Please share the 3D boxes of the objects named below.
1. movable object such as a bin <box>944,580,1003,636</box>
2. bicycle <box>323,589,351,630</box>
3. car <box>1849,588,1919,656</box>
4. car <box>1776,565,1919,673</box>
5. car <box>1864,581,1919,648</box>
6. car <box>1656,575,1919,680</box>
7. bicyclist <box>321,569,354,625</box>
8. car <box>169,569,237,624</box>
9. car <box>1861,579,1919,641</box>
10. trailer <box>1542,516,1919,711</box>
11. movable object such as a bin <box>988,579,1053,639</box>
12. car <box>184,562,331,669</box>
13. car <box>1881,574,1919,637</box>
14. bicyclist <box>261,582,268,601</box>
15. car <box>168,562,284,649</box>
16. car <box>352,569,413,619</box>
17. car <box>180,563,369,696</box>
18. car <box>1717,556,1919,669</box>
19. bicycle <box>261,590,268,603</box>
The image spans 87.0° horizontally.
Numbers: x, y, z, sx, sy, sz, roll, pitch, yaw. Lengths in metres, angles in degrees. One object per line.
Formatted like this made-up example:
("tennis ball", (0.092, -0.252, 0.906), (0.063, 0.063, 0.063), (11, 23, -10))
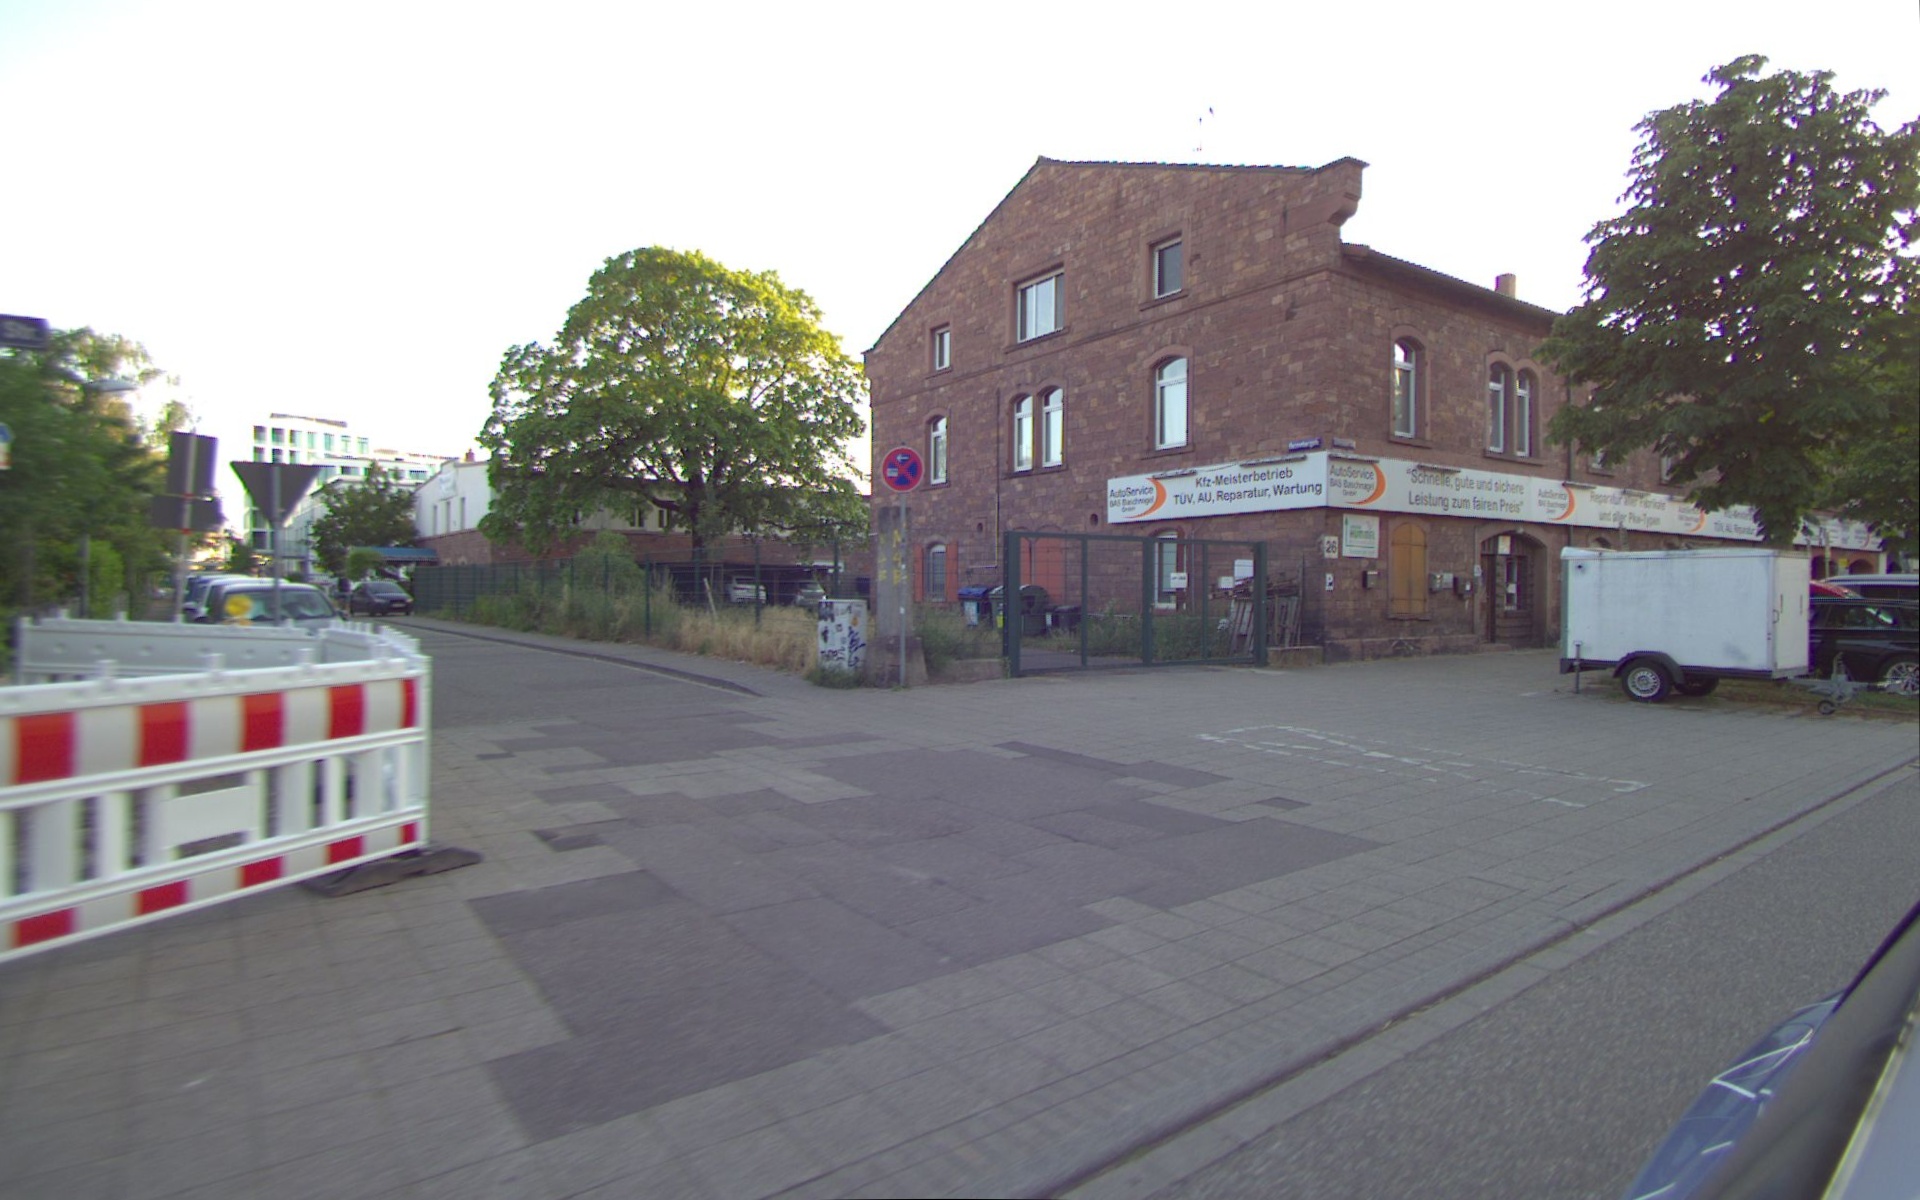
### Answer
("movable object such as a bin", (0.354, 0.200, 27.248), (1.038, 1.462, 1.290), (0, 0, -33))
("bicycle", (-19.628, 0.284, 31.874), (0.444, 1.239, 1.879), (0, 0, -41))
("car", (23.614, 0.499, 23.718), (1.788, 1.585, 3.954), (-1, 0, -39))
("car", (17.898, 0.329, 18.727), (1.963, 1.928, 3.998), (-1, 0, -37))
("car", (25.422, 0.422, 25.223), (1.860, 1.638, 4.000), (-1, 3, -37))
("car", (13.978, 0.386, 16.130), (1.740, 1.518, 4.440), (-1, 0, -36))
("bicyclist", (-19.589, -0.103, 31.827), (0.731, 1.720, 0.979), (0, 0, -41))
("car", (-29.500, -0.154, 39.400), (1.964, 2.039, 3.995), (-1, 0, -39))
("car", (27.304, 0.374, 27.072), (1.945, 1.594, 4.429), (1, 3, -37))
("trailer", (10.447, 0.131, 13.713), (1.962, 2.215, 4.000), (0, 0, -34))
("movable object such as a bin", (1.520, 0.210, 25.563), (1.076, 1.462, 1.265), (0, 0, -33))
("car", (-13.346, 0.242, 19.127), (1.964, 1.790, 3.995), (-1, 0, -39))
("car", (29.560, 0.284, 28.638), (1.980, 1.775, 4.803), (1, 3, -37))
("bicyclist", (-57.706, -0.686, 83.968), (0.443, 1.569, 0.454), (0, 0, -40))
("car", (-17.305, 0.106, 23.791), (1.964, 1.856, 3.995), (-1, 0, -39))
("car", (-24.951, -0.274, 43.657), (1.962, 2.039, 4.000), (-1, 0, -35))
("car", (-10.274, 0.356, 15.037), (1.964, 1.684, 3.995), (-1, 0, -39))
("car", (15.929, 0.192, 17.413), (1.869, 1.822, 4.313), (-1, 0, -36))
("bicycle", (-57.736, -0.288, 84.000), (0.342, 1.076, 1.264), (0, 0, -40))
